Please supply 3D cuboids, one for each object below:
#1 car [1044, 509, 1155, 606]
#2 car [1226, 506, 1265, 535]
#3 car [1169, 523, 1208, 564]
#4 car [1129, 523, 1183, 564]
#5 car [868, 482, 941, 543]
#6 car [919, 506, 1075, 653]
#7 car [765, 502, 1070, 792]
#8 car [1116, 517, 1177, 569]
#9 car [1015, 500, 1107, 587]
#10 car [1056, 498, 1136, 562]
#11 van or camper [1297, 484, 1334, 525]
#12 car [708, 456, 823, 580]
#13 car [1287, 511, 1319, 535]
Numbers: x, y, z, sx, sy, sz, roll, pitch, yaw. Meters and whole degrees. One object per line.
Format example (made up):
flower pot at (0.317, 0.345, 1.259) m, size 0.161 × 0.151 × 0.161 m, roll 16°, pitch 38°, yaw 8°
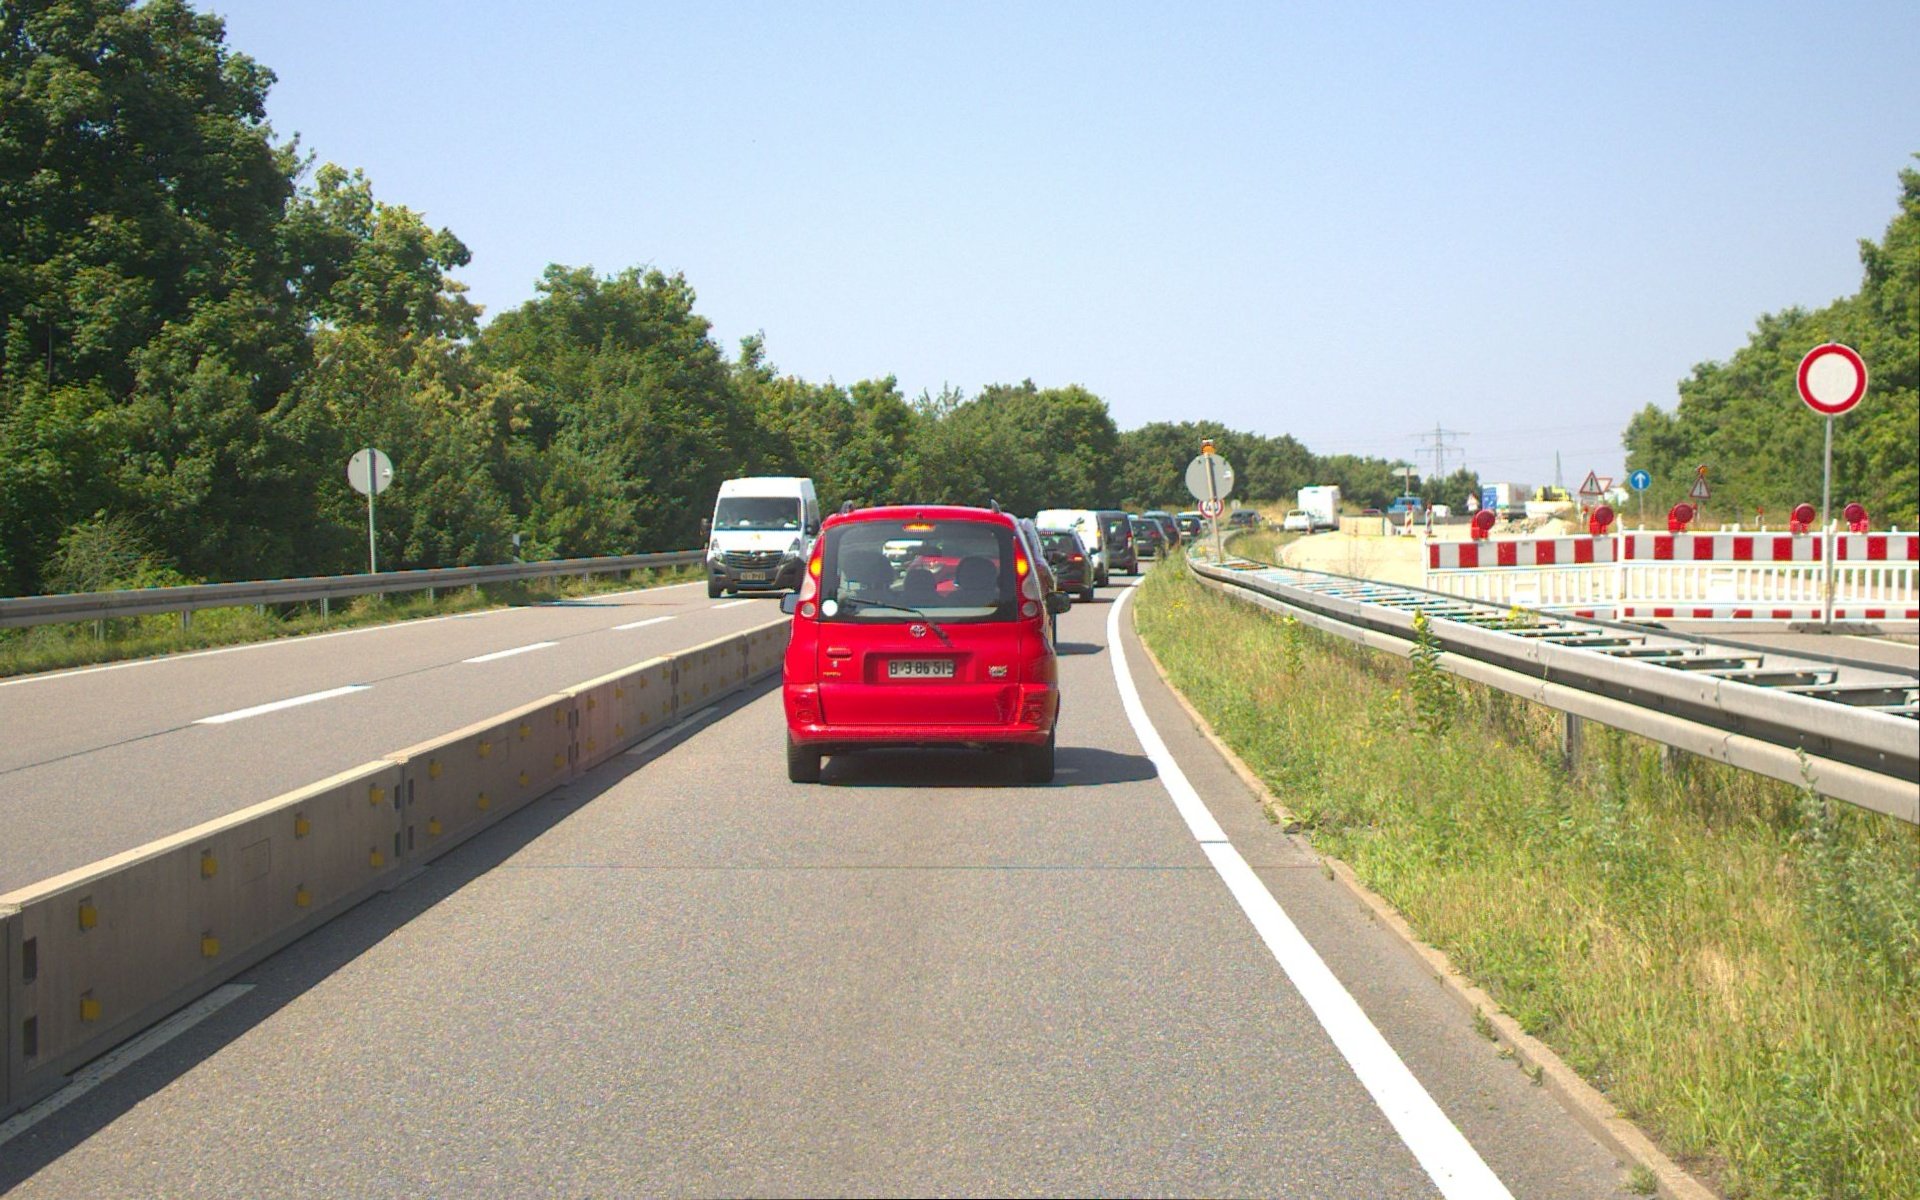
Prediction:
car at (2.776, -0.852, 67.489) m, size 1.994 × 1.831 × 4.000 m, roll -1°, pitch 1°, yaw 5°
car at (15.782, -4.394, 189.981) m, size 1.994 × 1.546 × 3.999 m, roll -1°, pitch 1°, yaw 6°
car at (9.923, -2.471, 149.105) m, size 1.502 × 1.730 × 3.169 m, roll -1°, pitch 1°, yaw 7°
car at (7.810, -2.245, 136.759) m, size 1.994 × 1.579 × 3.999 m, roll -1°, pitch 1°, yaw 5°
car at (-1.484, -2.362, 93.519) m, size 1.848 × 1.595 × 4.322 m, roll 0°, pitch 1°, yaw 1°
car at (0.440, -0.279, 42.720) m, size 1.830 × 1.716 × 4.000 m, roll -1°, pitch 1°, yaw 0°
car at (-0.189, 0.237, 21.953) m, size 1.752 × 1.667 × 4.000 m, roll 1°, pitch 1°, yaw 2°
car at (6.463, -1.985, 119.484) m, size 1.993 × 1.777 × 4.000 m, roll -1°, pitch 1°, yaw 2°
car at (2.379, -1.364, 82.101) m, size 1.993 × 1.997 × 4.000 m, roll -1°, pitch 1°, yaw -1°
car at (3.787, -1.956, 96.144) m, size 1.993 × 1.744 × 4.000 m, roll -1°, pitch 1°, yaw -1°
van or camper at (24.284, -6.511, 234.998) m, size 2.328 × 2.697 × 4.593 m, roll -1°, pitch 1°, yaw 4°
car at (-4.024, -1.710, 71.847) m, size 2.061 × 2.477 × 5.561 m, roll 0°, pitch 1°, yaw 0°
car at (22.228, -4.988, 222.727) m, size 1.994 × 1.481 × 3.999 m, roll -1°, pitch 1°, yaw 5°
